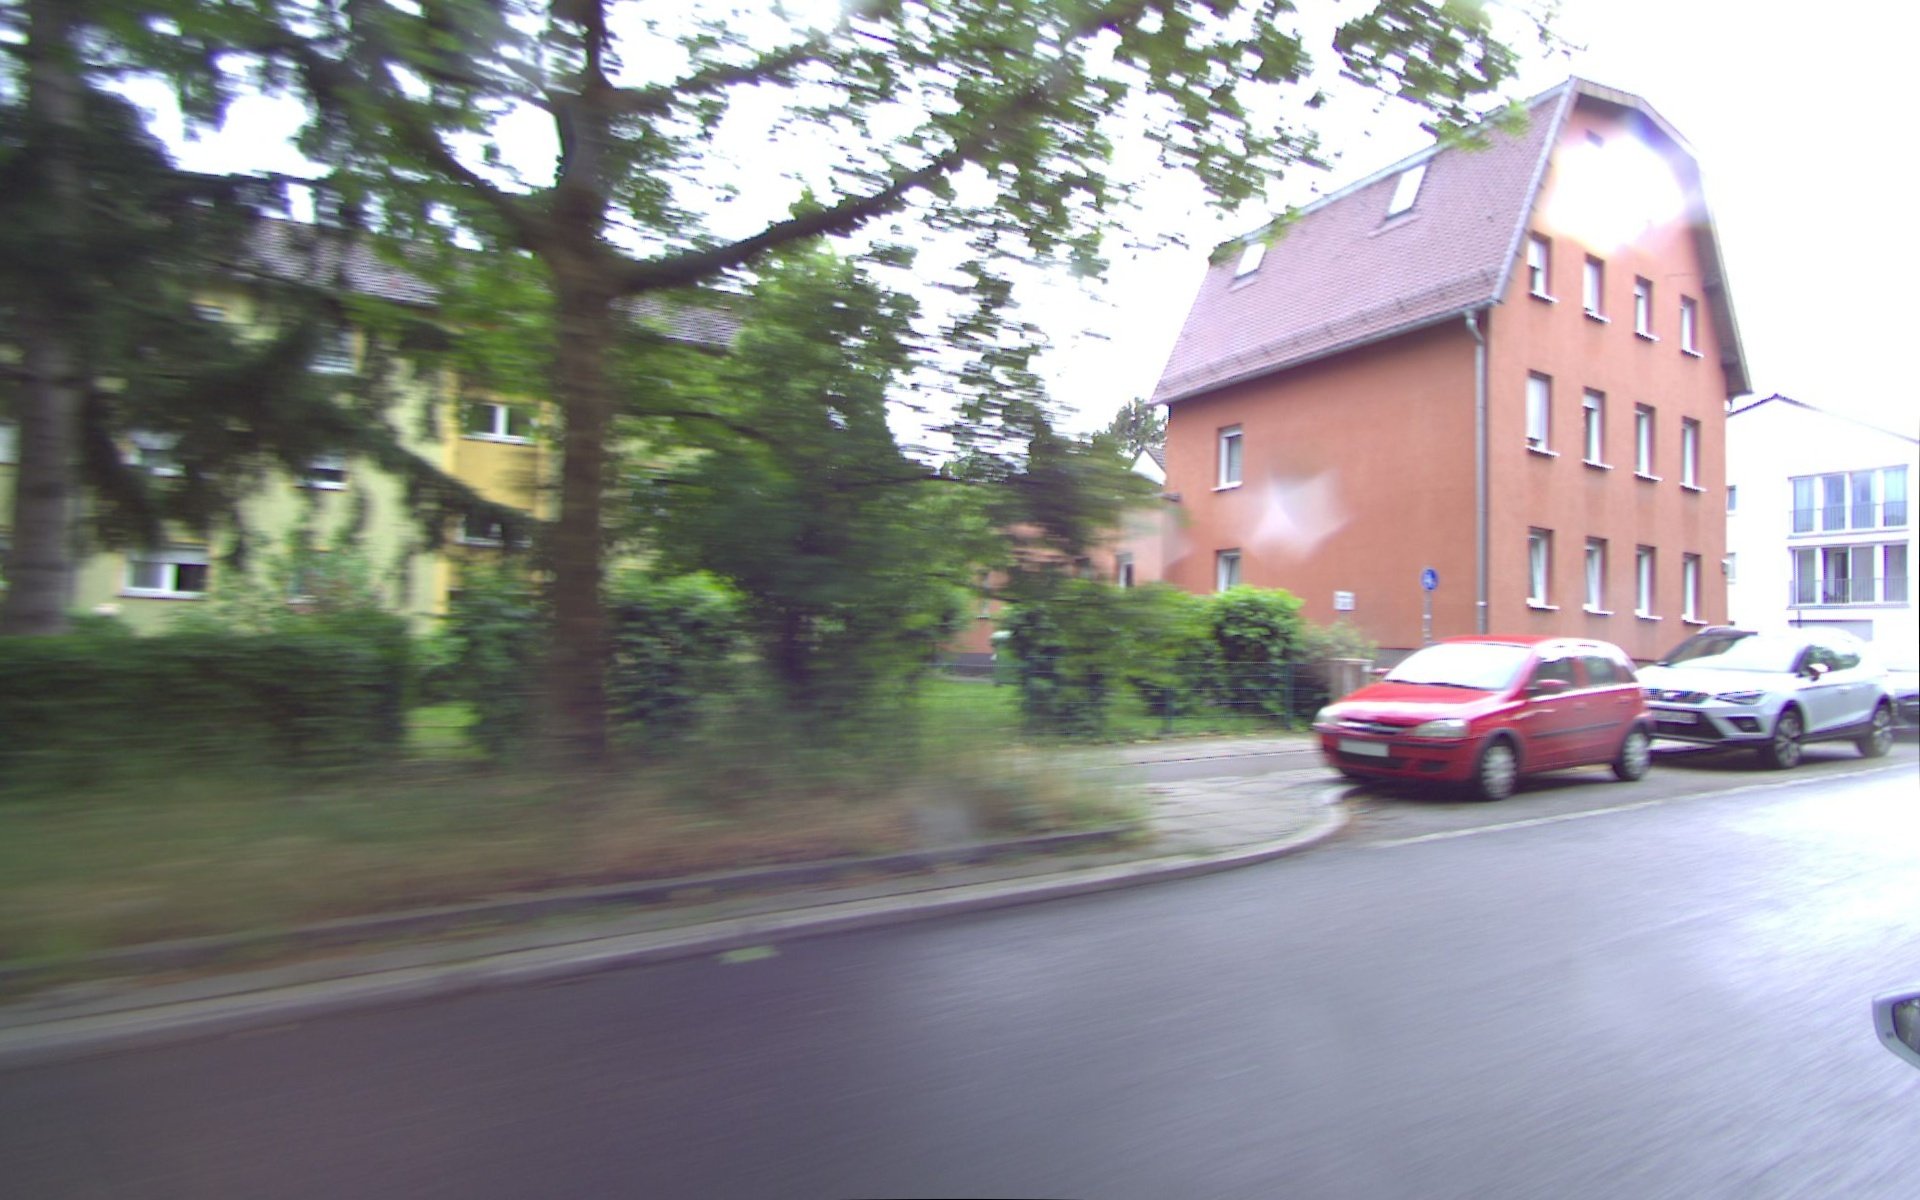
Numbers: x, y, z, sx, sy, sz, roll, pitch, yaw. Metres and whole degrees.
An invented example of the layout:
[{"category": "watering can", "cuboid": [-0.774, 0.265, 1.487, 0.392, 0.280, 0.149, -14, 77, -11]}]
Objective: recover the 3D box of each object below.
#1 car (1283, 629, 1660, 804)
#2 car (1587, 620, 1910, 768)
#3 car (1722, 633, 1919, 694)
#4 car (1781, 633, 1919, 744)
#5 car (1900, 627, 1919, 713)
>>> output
[{"category": "car", "cuboid": [5.063, 1.012, 9.834, 3.717, 1.391, 1.630, 2, -1, -32]}, {"category": "car", "cuboid": [9.756, 1.068, 12.377, 4.068, 1.562, 1.684, 1, -4, -30]}, {"category": "car", "cuboid": [26.115, 1.870, 30.634, 1.974, 1.720, 4.136, 1, -2, -26]}, {"category": "car", "cuboid": [14.780, 1.299, 15.608, 4.334, 1.502, 1.736, 2, -1, -30]}, {"category": "car", "cuboid": [19.015, 1.313, 18.264, 4.307, 1.502, 1.627, 2, 0, -30]}]
